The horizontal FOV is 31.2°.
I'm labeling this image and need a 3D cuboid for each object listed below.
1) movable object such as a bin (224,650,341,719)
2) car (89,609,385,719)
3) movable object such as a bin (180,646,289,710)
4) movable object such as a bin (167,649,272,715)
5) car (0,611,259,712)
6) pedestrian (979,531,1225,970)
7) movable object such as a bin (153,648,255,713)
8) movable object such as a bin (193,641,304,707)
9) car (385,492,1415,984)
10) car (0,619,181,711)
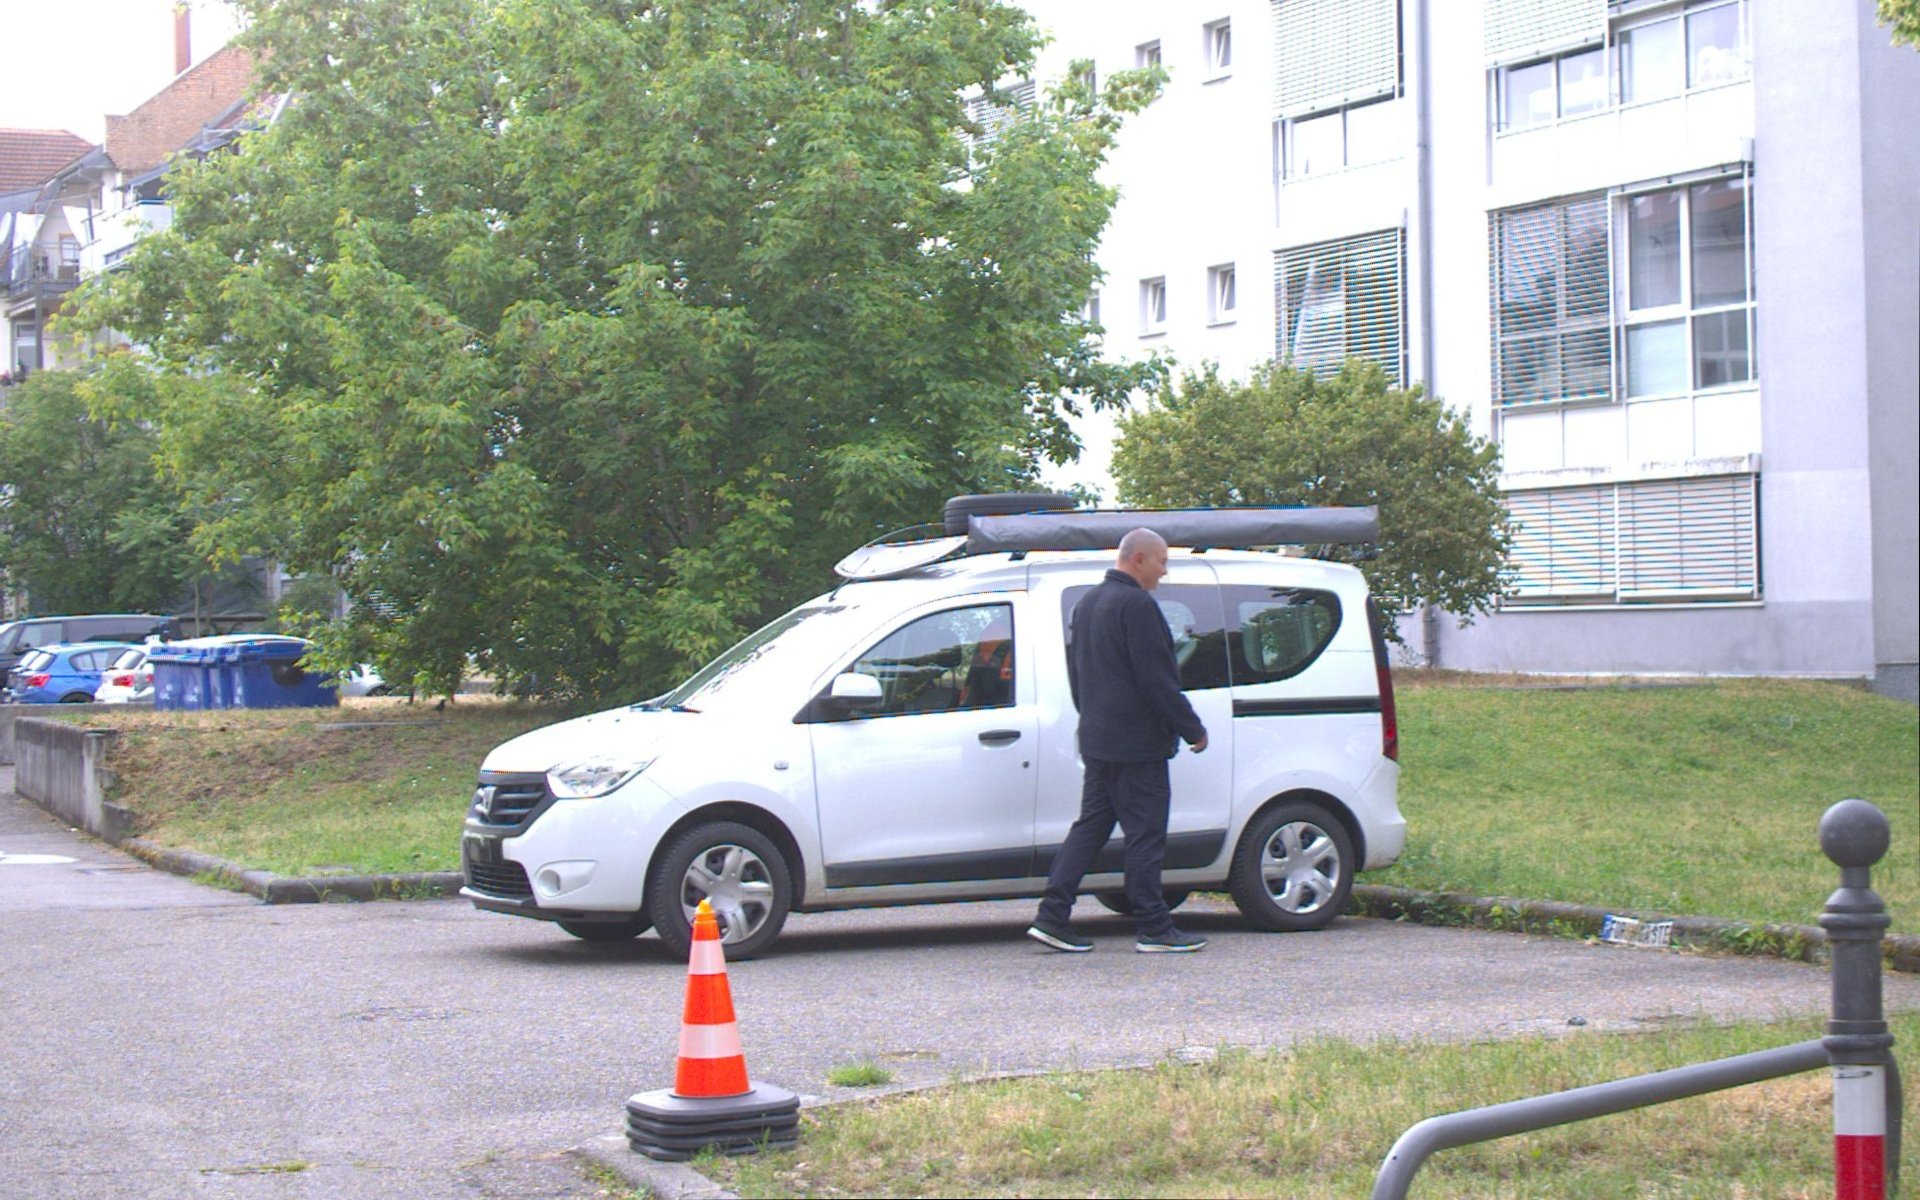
[{"bbox_3d":[-6.509,0.812,32.997,0.964,0.634,0.911,0,-1,-20],"label":"movable object such as a bin"},{"bbox_3d":[-11.071,0.955,52.675,3.987,1.568,2.000,-1,0,-32],"label":"car"},{"bbox_3d":[-7.444,0.798,35.248,0.964,0.634,0.911,0,-1,-20],"label":"movable object such as a bin"},{"bbox_3d":[-7.782,0.864,36.114,0.964,0.677,0.811,0,-1,-20],"label":"movable object such as a bin"},{"bbox_3d":[-13.800,0.992,56.907,3.987,1.568,1.585,-1,0,-32],"label":"car"},{"bbox_3d":[0.599,0.628,14.625,0.754,1.803,0.698,-1,-2,-26],"label":"pedestrian"},{"bbox_3d":[-8.128,0.862,36.939,0.964,0.677,0.871,0,-1,-20],"label":"movable object such as a bin"},{"bbox_3d":[-7.100,0.741,34.281,0.964,0.634,0.911,0,-1,-20],"label":"movable object such as a bin"},{"bbox_3d":[-0.263,0.580,15.824,4.336,2.007,1.854,0,-2,-26],"label":"car"},{"bbox_3d":[-16.412,1.153,61.994,4.182,1.568,2.000,-1,0,-32],"label":"car"}]
